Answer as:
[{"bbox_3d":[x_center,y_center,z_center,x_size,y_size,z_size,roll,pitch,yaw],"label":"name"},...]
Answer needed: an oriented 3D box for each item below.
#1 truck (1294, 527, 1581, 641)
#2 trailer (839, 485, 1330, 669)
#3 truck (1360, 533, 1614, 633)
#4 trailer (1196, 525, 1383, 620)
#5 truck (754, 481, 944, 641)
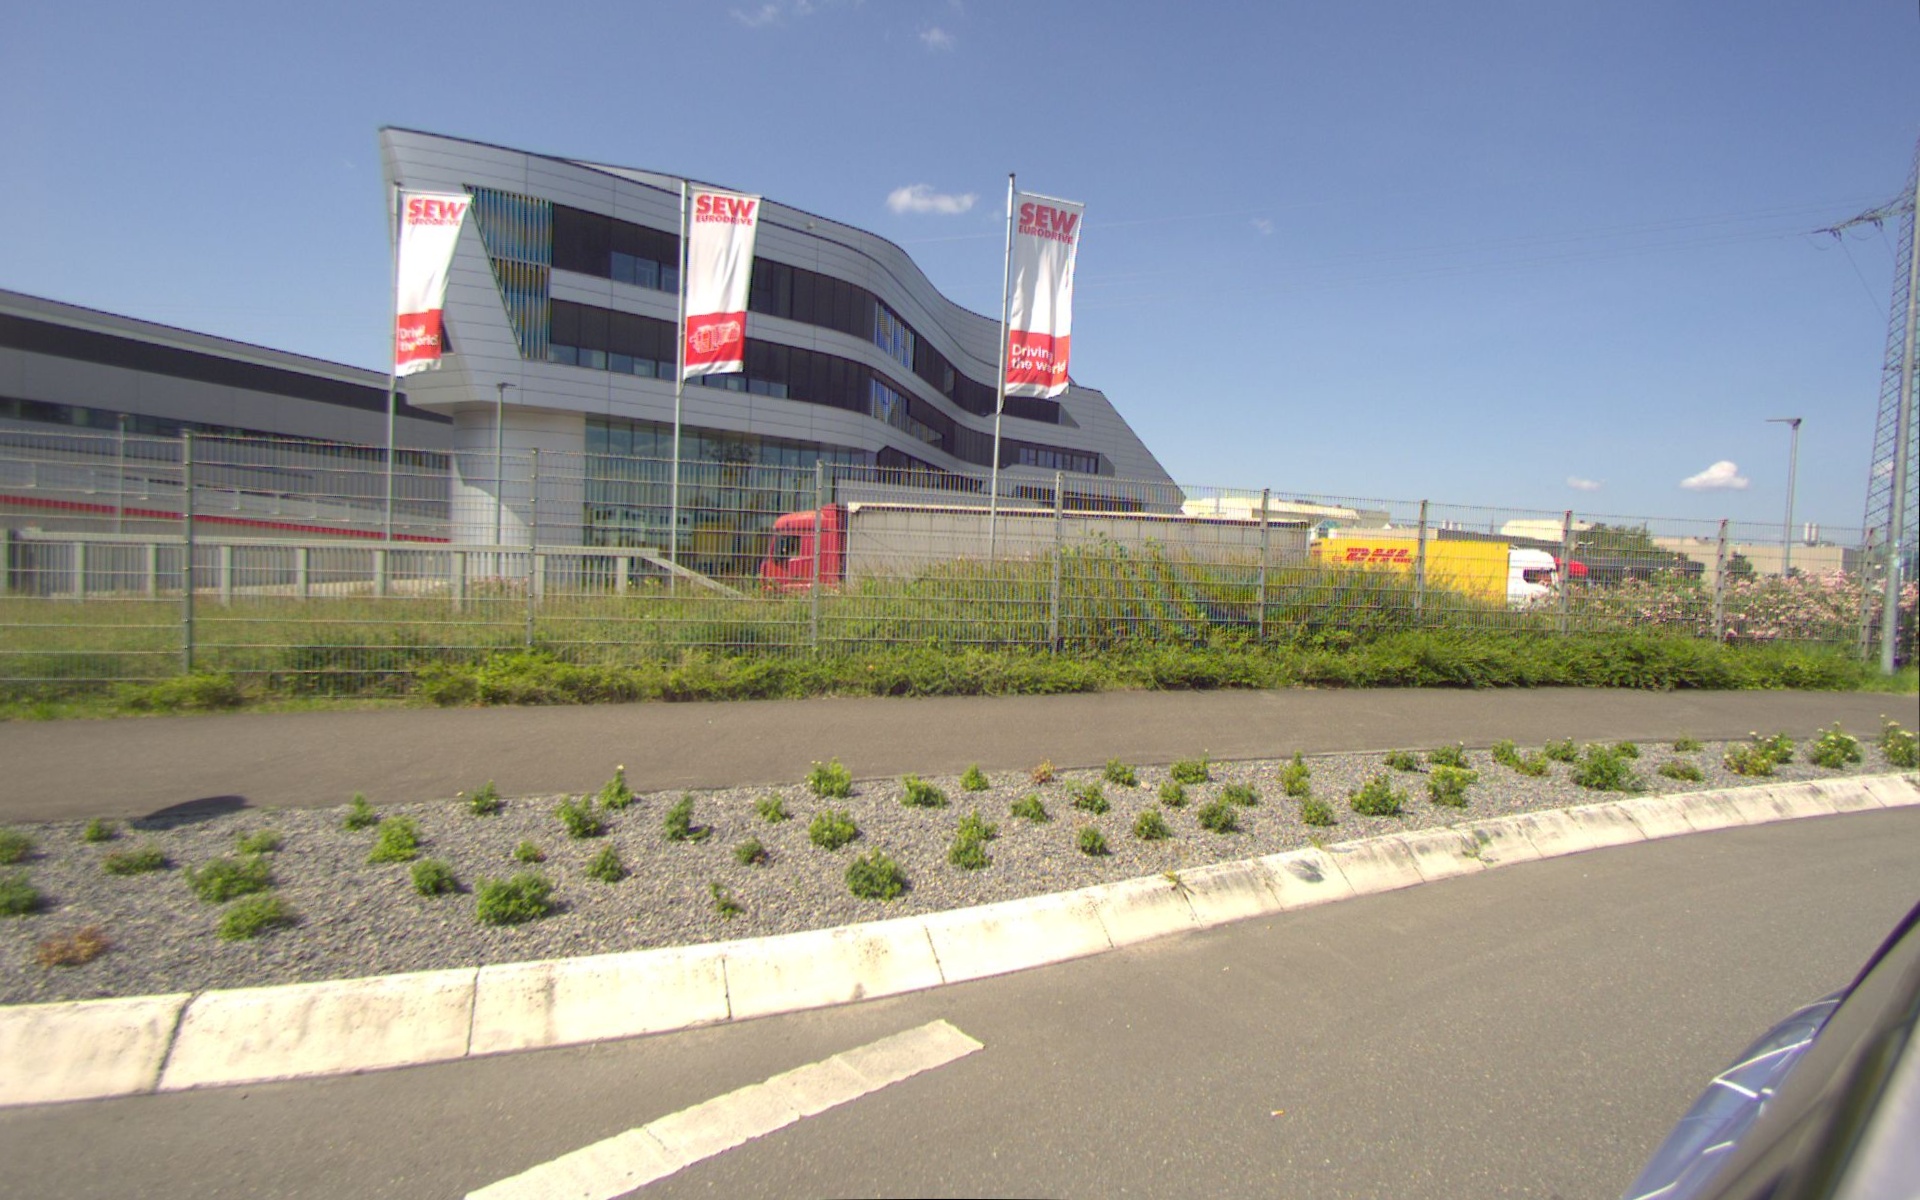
[{"bbox_3d":[20.729,-0.807,44.612,10.792,4.222,2.818,4,4,8],"label":"truck"},{"bbox_3d":[3.494,-0.825,30.544,13.826,4.490,2.762,4,4,7],"label":"trailer"},{"bbox_3d":[26.536,-0.945,51.521,10.790,4.306,3.024,4,4,8],"label":"truck"},{"bbox_3d":[17.002,-1.530,52.884,8.571,4.346,3.024,4,4,8],"label":"trailer"},{"bbox_3d":[-3.361,-1.257,31.451,5.201,4.475,2.763,3,4,7],"label":"truck"}]
